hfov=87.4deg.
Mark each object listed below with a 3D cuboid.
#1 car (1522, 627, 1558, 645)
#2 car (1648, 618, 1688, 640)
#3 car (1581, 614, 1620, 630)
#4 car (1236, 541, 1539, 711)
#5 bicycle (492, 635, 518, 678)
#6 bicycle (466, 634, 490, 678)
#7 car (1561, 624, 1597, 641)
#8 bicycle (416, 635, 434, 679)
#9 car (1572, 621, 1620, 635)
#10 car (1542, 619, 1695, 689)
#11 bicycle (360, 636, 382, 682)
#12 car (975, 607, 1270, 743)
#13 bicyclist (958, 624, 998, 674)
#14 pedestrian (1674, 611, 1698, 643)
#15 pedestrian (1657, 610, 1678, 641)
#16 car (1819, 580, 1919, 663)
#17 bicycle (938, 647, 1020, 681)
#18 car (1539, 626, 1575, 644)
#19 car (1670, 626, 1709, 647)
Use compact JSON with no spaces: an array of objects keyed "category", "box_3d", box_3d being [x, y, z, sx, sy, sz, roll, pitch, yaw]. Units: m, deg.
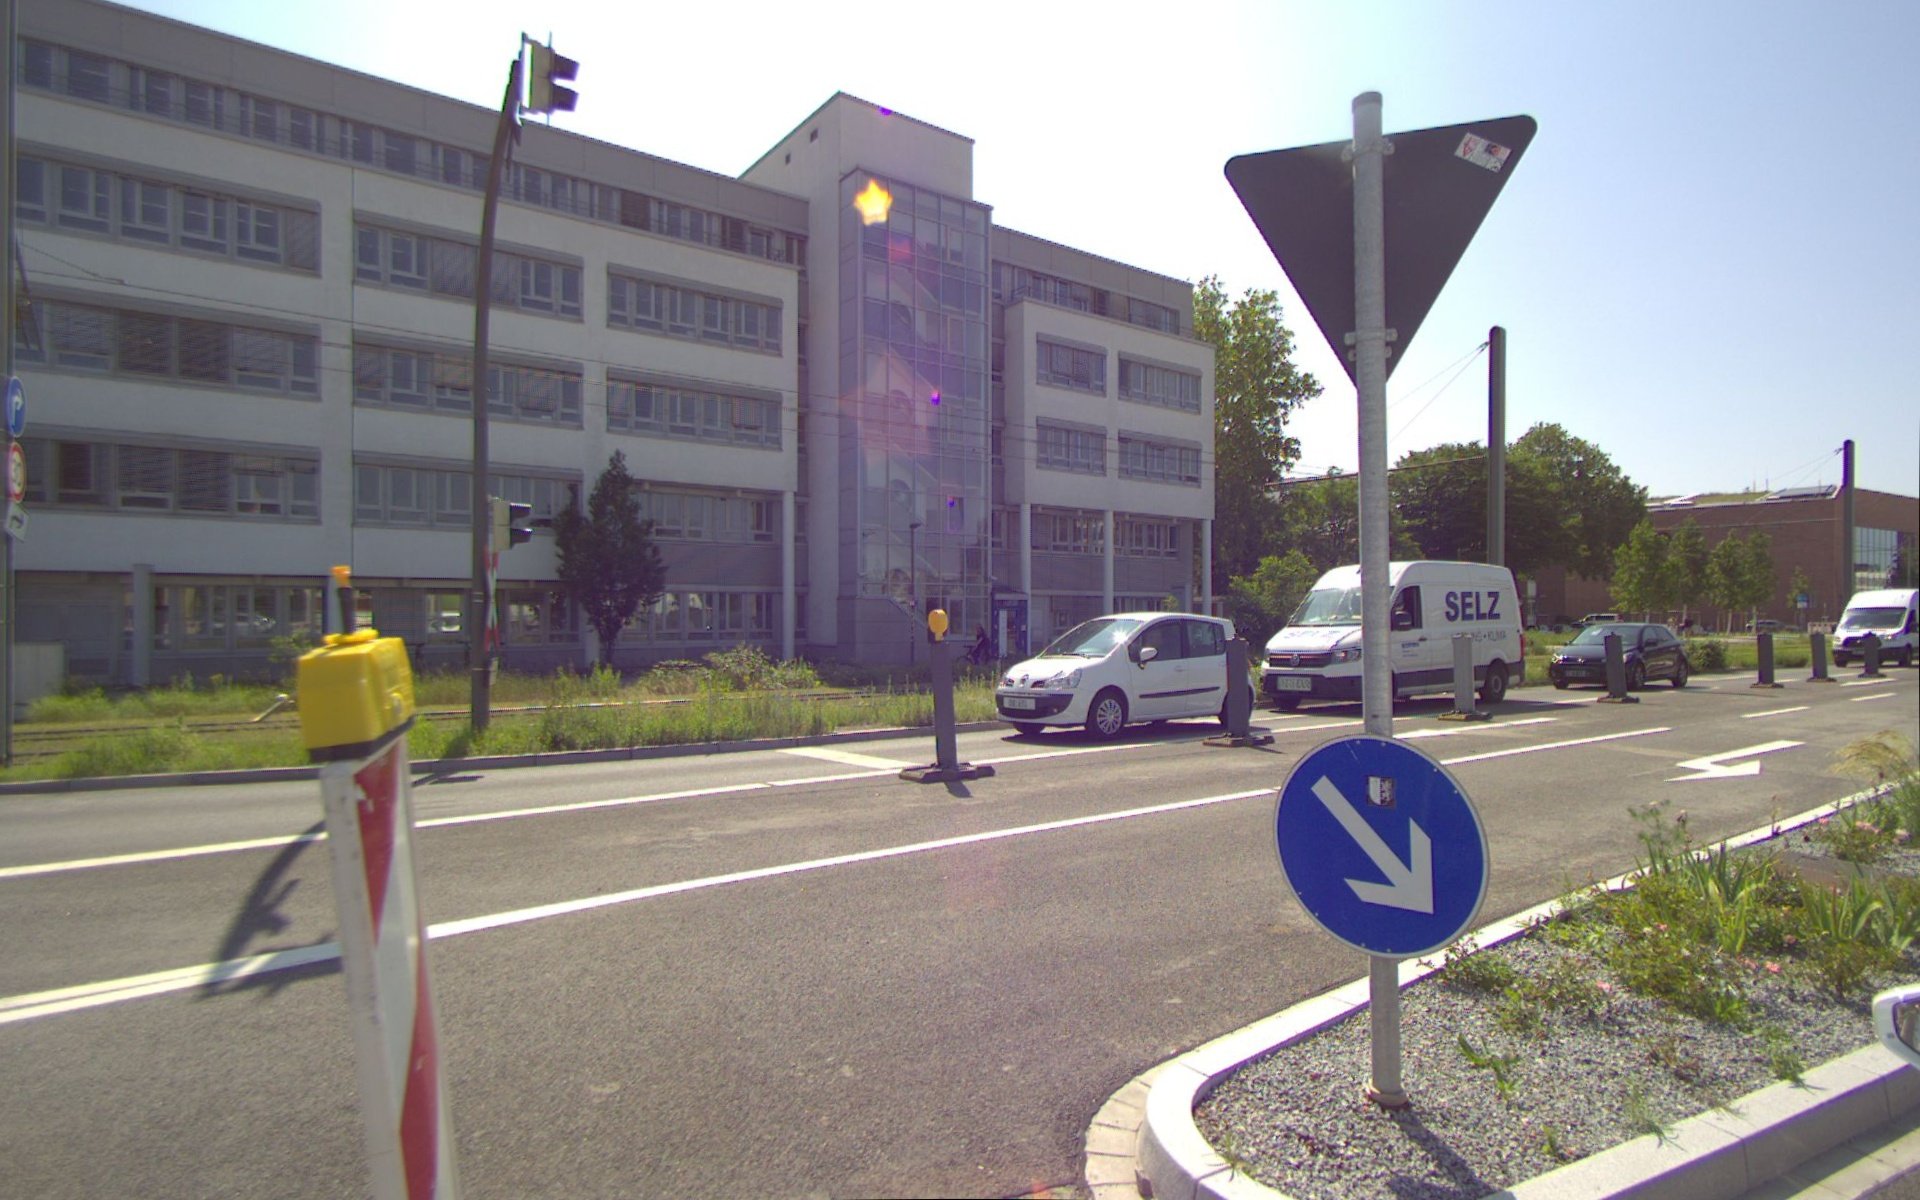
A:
[{"category":"car","box_3d":[49.037,3.037,84.910,3.757,1.476,1.525,1,0,-40]},{"category":"car","box_3d":[61.687,2.523,87.540,3.901,1.784,1.686,2,-1,-36]},{"category":"car","box_3d":[74.838,2.573,117.347,1.677,1.712,3.519,0,1,-35]},{"category":"car","box_3d":[7.790,0.500,18.007,6.132,2.612,2.018,1,-3,-35]},{"category":"bicycle","box_3d":[-14.096,1.739,31.129,0.434,1.205,1.635,0,1,-35]},{"category":"bicycle","box_3d":[-14.762,1.697,30.771,0.433,1.205,1.636,0,1,-34]},{"category":"car","box_3d":[56.512,2.973,91.695,3.751,1.477,1.527,0,0,-36]},{"category":"bicycle","box_3d":[-15.979,1.683,29.983,0.433,1.205,1.638,0,1,-30]},{"category":"car","box_3d":[69.999,3.123,110.613,1.977,1.421,3.967,2,-1,-30]},{"category":"car","box_3d":[15.109,1.193,22.981,4.152,1.476,1.535,1,-3,-36]},{"category":"bicycle","box_3d":[-17.004,1.675,29.010,0.515,1.205,1.638,0,1,-30]},{"category":"car","box_3d":[2.242,0.939,13.417,3.939,1.561,1.570,1,-3,-36]},{"category":"bicyclist","box_3d":[0.590,1.588,32.732,1.066,1.560,0.749,1,0,-35]},{"category":"pedestrian","box_3d":[47.698,1.743,66.008,0.900,2.041,0.977,0,1,-33]},{"category":"pedestrian","box_3d":[47.151,1.690,66.902,0.973,2.040,0.834,0,1,-33]},{"category":"car","box_3d":[33.306,0.811,36.137,5.922,2.776,2.065,1,-2,-33]},{"category":"bicycle","box_3d":[0.642,2.085,32.781,2.803,1.031,0.749,2,-1,-35]},{"category":"car","box_3d":[52.292,3.014,88.021,3.755,1.477,1.526,0,0,-39]},{"category":"car","box_3d":[66.352,3.327,91.350,4.260,1.784,1.686,2,-1,-36]}]
